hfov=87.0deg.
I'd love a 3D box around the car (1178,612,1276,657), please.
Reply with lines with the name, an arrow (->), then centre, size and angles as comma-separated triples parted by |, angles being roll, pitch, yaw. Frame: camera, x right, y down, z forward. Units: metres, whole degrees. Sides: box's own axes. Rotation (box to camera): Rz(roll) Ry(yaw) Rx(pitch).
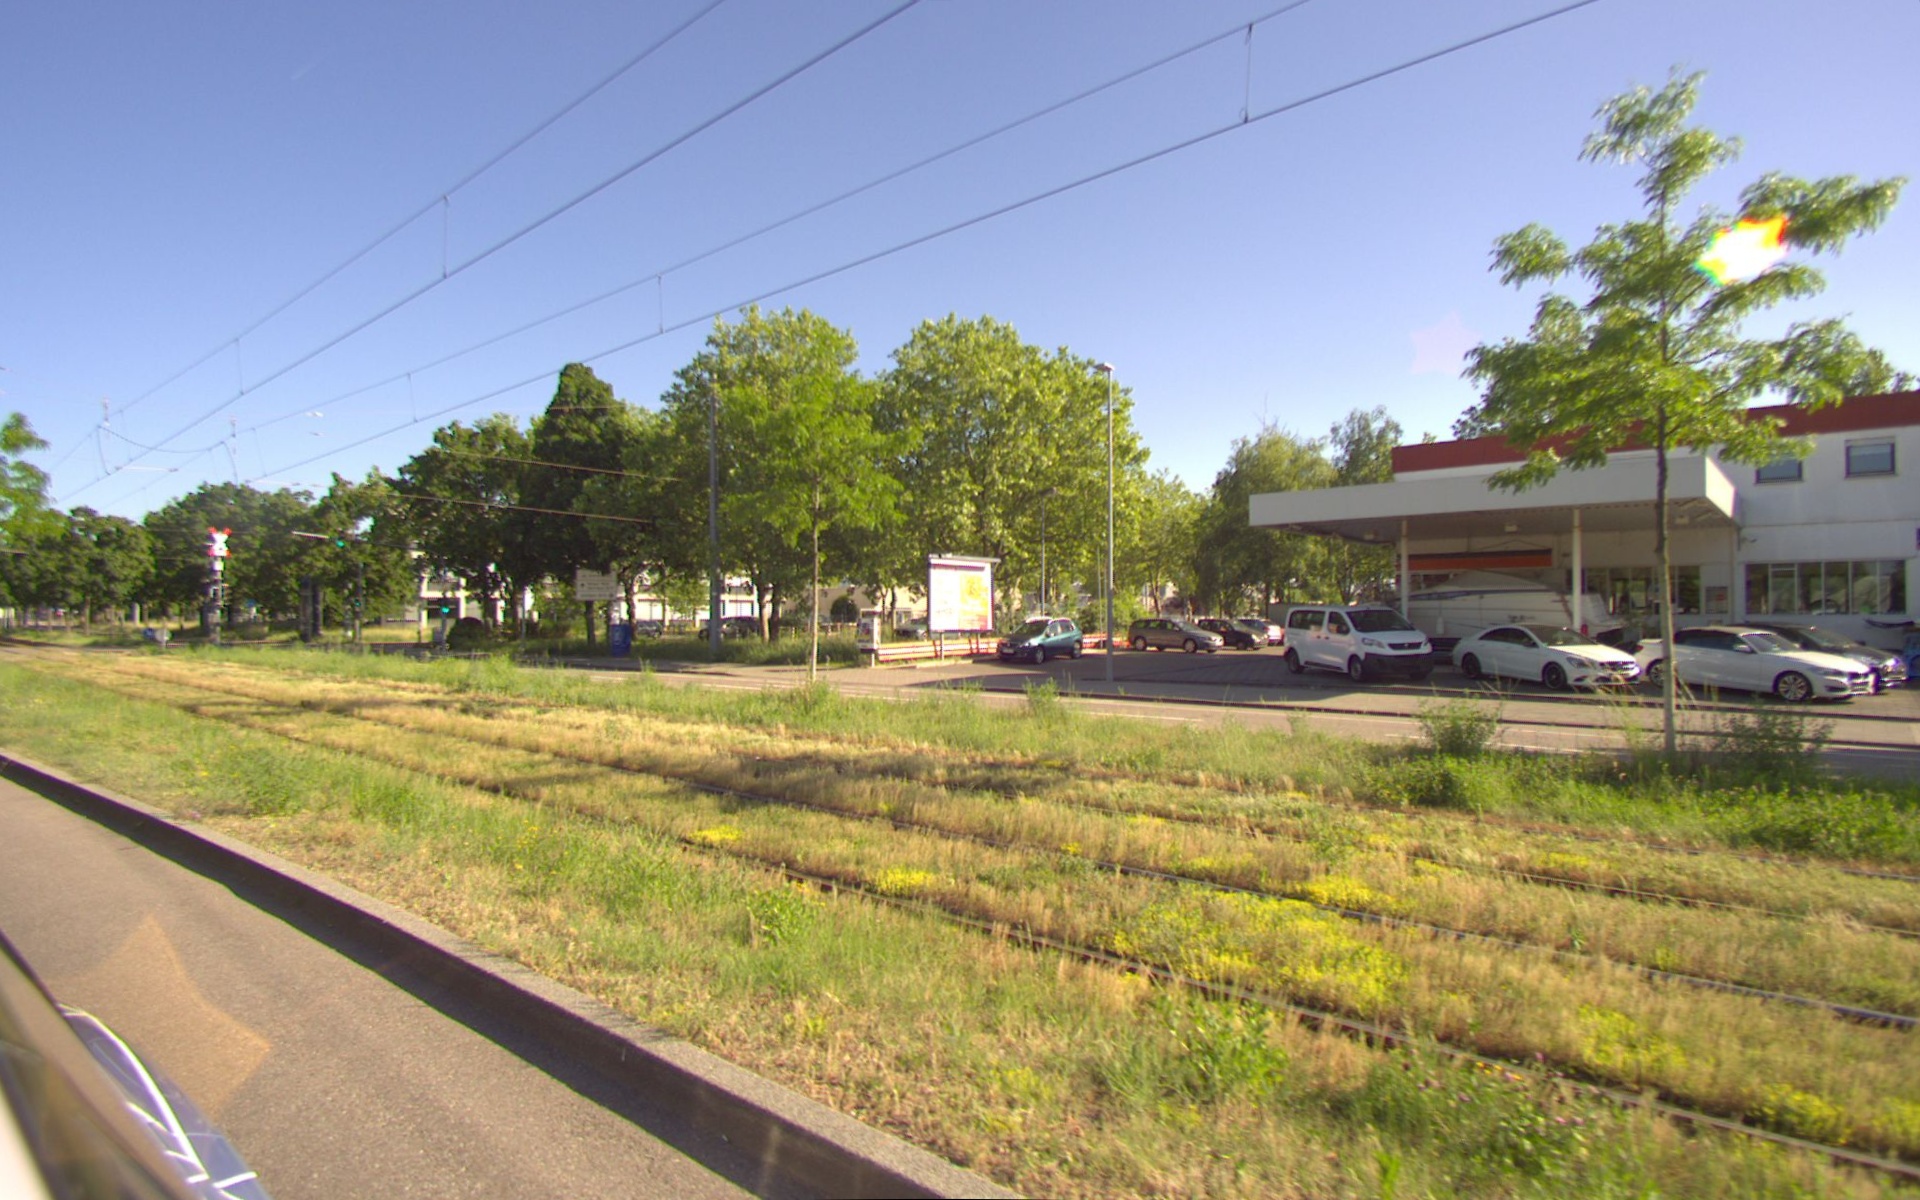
car -> 12.558, 1.619, 47.693 | 3.998, 2.029, 1.973 | -1, -2, 41

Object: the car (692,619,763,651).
car -> -14.794, 2.205, 64.506 | 1.998, 1.840, 4.001 | -1, 0, 39

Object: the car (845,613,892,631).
car -> -8.747, 2.081, 96.850 | 1.998, 1.659, 4.477 | -1, 0, 39

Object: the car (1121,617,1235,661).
car -> 9.425, 1.669, 44.023 | 1.970, 1.833, 4.531 | 2, -3, -44

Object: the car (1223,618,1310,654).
car -> 16.275, 1.906, 53.862 | 3.998, 1.875, 1.973 | -1, -2, 41

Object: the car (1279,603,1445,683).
car -> 10.549, 1.122, 27.041 | 1.868, 1.925, 4.819 | -1, -2, -9

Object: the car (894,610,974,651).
car -> -1.284, 1.528, 52.100 | 1.998, 1.876, 4.001 | -1, 0, 39

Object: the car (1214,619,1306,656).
car -> 15.038, 1.876, 50.809 | 3.998, 1.758, 1.973 | -1, -2, 41

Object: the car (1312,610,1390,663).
car -> 15.737, 1.447, 40.582 | 1.886, 2.002, 4.556 | -1, -2, 35

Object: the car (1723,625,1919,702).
car -> 20.169, 1.384, 23.255 | 1.820, 1.519, 4.000 | 1, -1, -11

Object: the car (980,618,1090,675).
car -> 2.838, 1.707, 37.902 | 2.001, 1.871, 3.942 | -2, 0, 44

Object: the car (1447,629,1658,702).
car -> 13.859, 1.462, 24.035 | 1.689, 1.435, 4.468 | -1, 0, -13

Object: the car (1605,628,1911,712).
car -> 17.132, 1.422, 22.102 | 1.992, 1.519, 4.905 | 1, -1, -21
